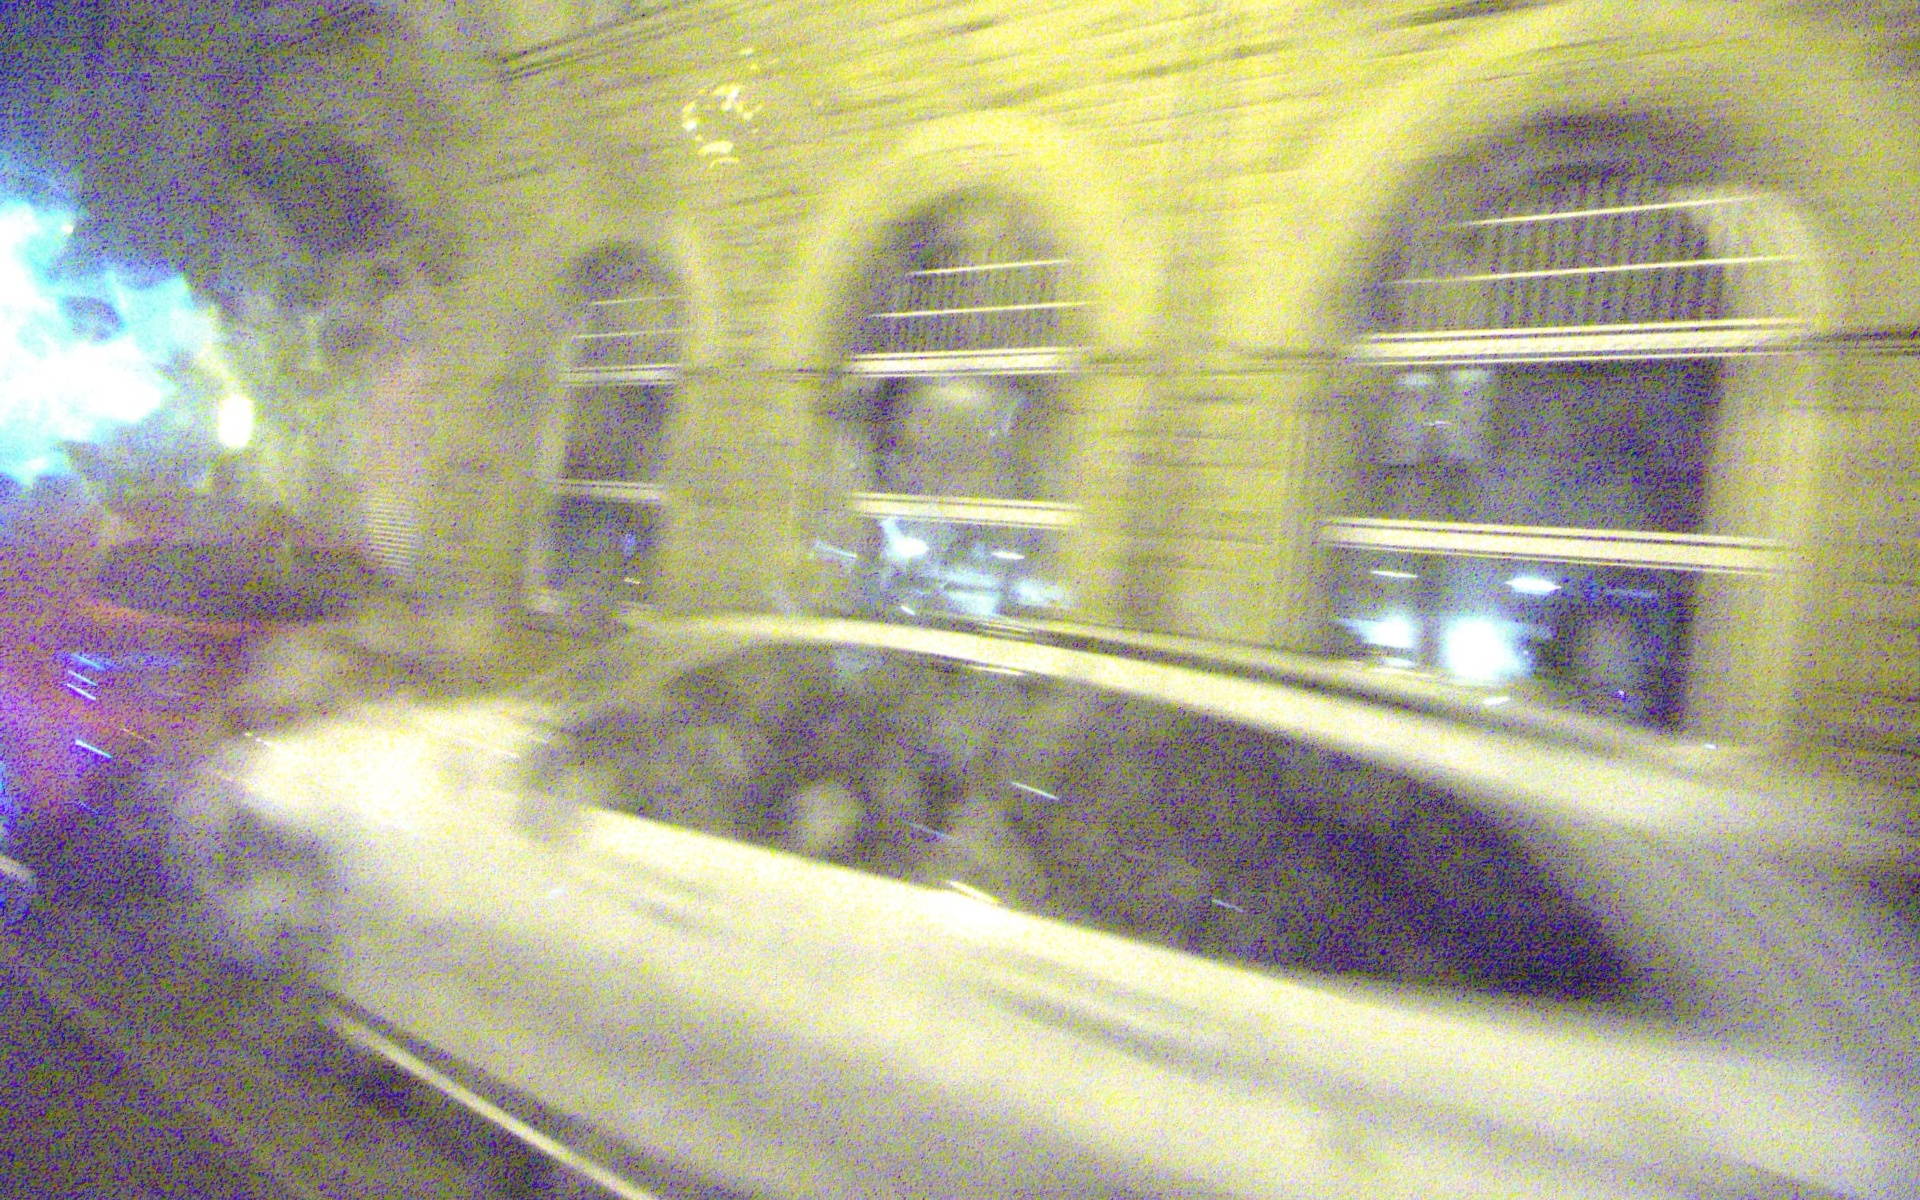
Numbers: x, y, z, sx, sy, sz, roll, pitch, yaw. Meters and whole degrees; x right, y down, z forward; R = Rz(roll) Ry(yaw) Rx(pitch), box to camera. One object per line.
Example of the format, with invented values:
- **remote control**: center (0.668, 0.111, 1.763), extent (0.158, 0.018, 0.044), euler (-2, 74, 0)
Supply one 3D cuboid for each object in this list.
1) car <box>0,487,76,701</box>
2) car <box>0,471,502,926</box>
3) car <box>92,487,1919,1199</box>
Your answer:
- **car**: center (-8.665, -0.254, 7.701), extent (3.826, 1.517, 1.692), euler (7, 0, 31)
- **car**: center (-4.364, 0.208, 5.022), extent (3.823, 1.517, 1.693), euler (7, 0, 28)
- **car**: center (-0.299, 0.665, 2.870), extent (4.343, 1.482, 1.996), euler (6, -1, 32)
